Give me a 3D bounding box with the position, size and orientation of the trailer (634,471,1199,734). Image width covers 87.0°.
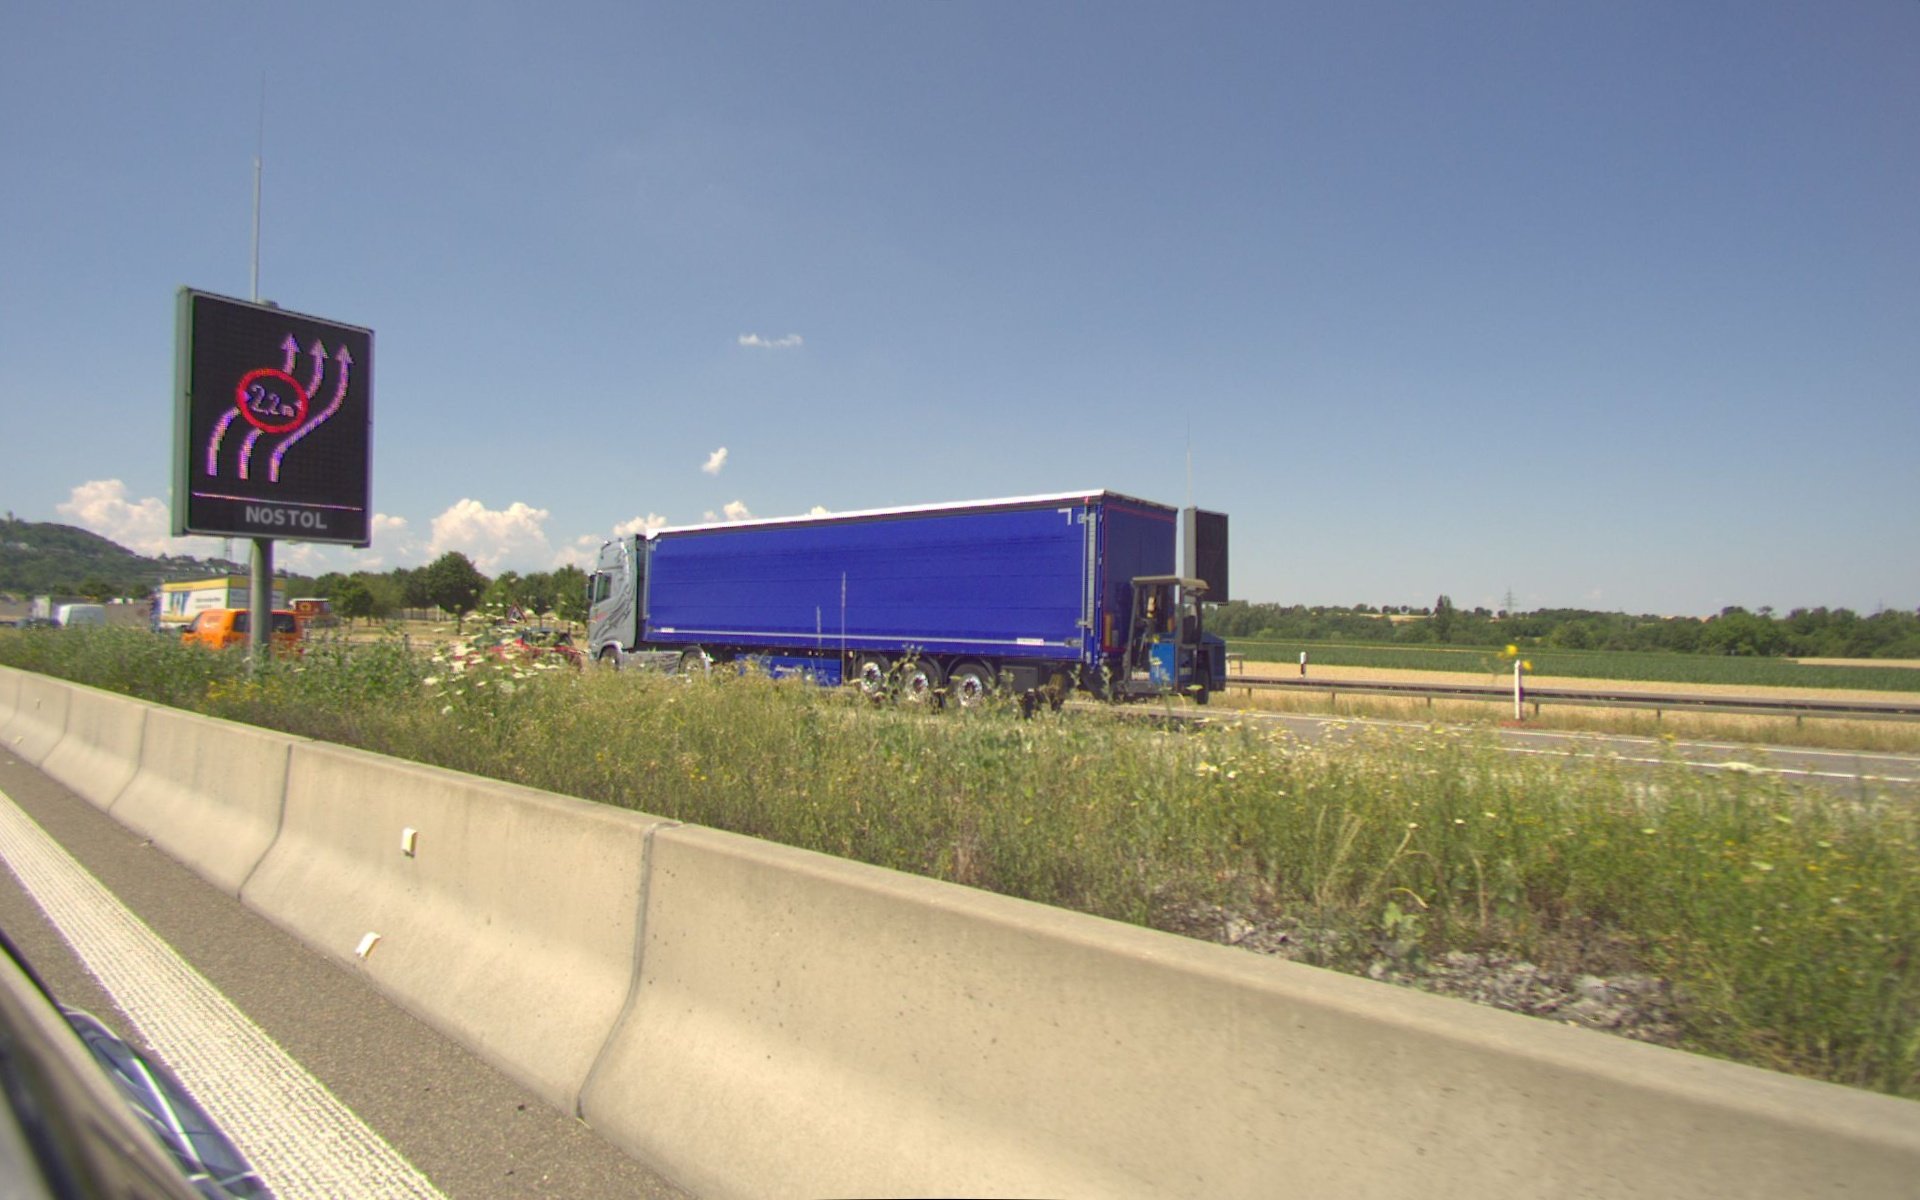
[{"bbox_3d":[-1.934,0.185,21.329,14.087,4.118,2.361,-1,-3,41],"label":"trailer"}]

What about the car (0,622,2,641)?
[{"bbox_3d":[-86.944,2.775,89.985,5.517,1.723,1.867,-1,-4,40],"label":"car"}]

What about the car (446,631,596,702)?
[{"bbox_3d":[-10.299,1.486,23.613,4.227,1.519,1.571,-1,-3,42],"label":"car"}]

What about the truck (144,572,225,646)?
[{"bbox_3d":[-45.837,0.582,59.807,4.839,4.160,2.781,-1,-3,41],"label":"truck"}]

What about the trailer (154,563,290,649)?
[{"bbox_3d":[-40.443,0.463,55.146,14.121,4.160,2.780,-1,-3,41],"label":"trailer"}]

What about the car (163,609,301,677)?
[{"bbox_3d":[-19.289,1.047,26.722,4.934,1.590,1.875,0,0,41],"label":"car"}]

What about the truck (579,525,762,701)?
[{"bbox_3d":[-7.539,0.370,26.192,4.658,4.118,2.386,-1,-3,42],"label":"truck"}]

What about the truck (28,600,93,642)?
[{"bbox_3d":[-83.176,1.973,93.476,13.284,3.637,2.765,-1,-4,42],"label":"truck"}]

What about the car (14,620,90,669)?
[{"bbox_3d":[-39.997,1.920,44.550,4.684,2.029,1.972,-2,-2,42],"label":"car"}]

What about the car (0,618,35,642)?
[{"bbox_3d":[-57.583,1.807,61.266,4.927,1.345,1.761,0,0,41],"label":"car"}]

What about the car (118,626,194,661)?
[{"bbox_3d":[-33.966,1.804,42.738,4.431,1.276,1.729,0,0,41],"label":"car"}]

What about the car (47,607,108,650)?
[{"bbox_3d":[-55.236,1.792,63.303,5.808,2.520,2.025,-1,-3,41],"label":"car"}]
